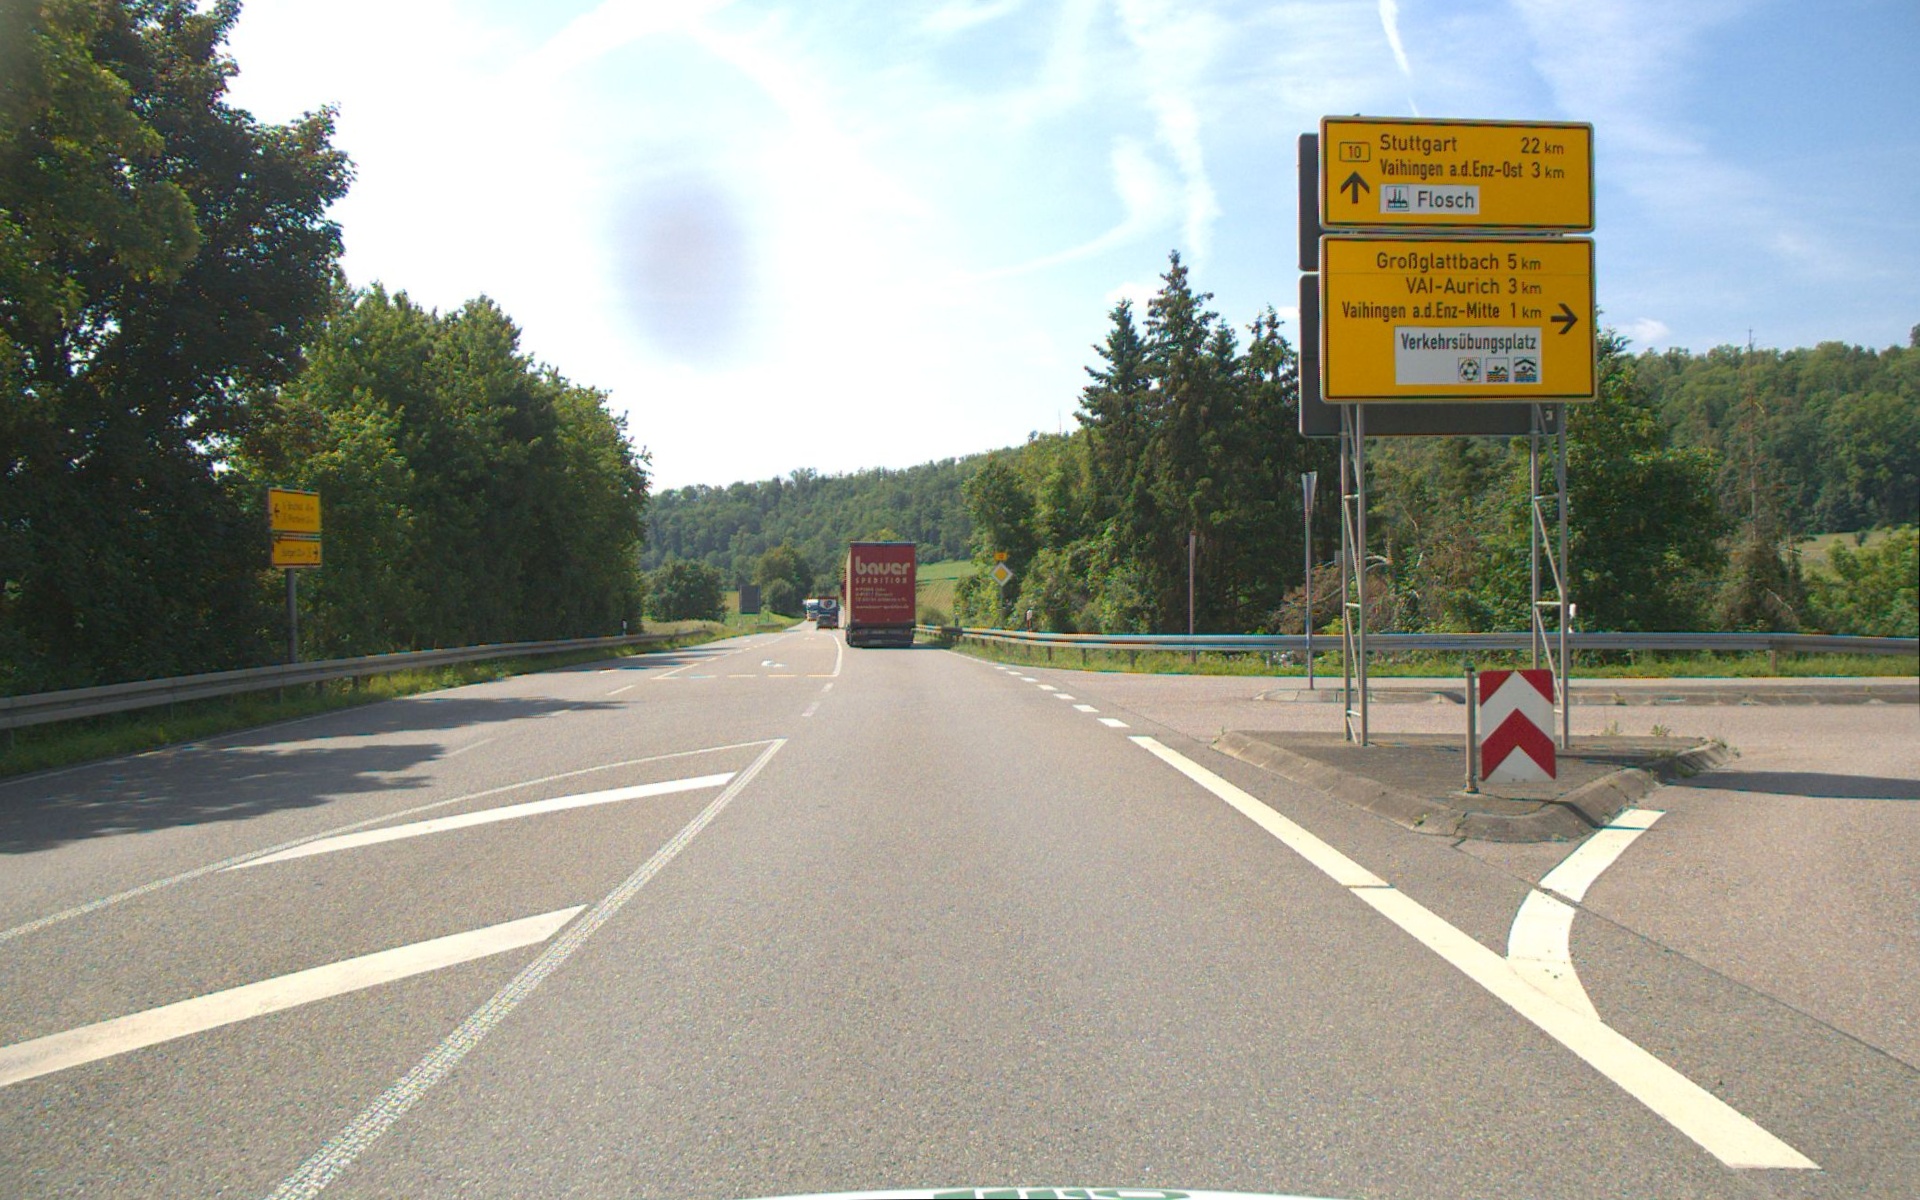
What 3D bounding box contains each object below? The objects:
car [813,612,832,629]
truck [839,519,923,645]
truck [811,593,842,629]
[{"bbox_3d":[-15.256,2.317,183.770,1.955,1.842,3.995,2,-1,-6],"label":"car"},{"bbox_3d":[-3.355,-0.628,68.948,3.109,4.706,13.533,-1,0,-3],"label":"truck"},{"bbox_3d":[-17.392,1.497,215.107,3.829,4.446,13.277,2,-1,-5],"label":"truck"}]
